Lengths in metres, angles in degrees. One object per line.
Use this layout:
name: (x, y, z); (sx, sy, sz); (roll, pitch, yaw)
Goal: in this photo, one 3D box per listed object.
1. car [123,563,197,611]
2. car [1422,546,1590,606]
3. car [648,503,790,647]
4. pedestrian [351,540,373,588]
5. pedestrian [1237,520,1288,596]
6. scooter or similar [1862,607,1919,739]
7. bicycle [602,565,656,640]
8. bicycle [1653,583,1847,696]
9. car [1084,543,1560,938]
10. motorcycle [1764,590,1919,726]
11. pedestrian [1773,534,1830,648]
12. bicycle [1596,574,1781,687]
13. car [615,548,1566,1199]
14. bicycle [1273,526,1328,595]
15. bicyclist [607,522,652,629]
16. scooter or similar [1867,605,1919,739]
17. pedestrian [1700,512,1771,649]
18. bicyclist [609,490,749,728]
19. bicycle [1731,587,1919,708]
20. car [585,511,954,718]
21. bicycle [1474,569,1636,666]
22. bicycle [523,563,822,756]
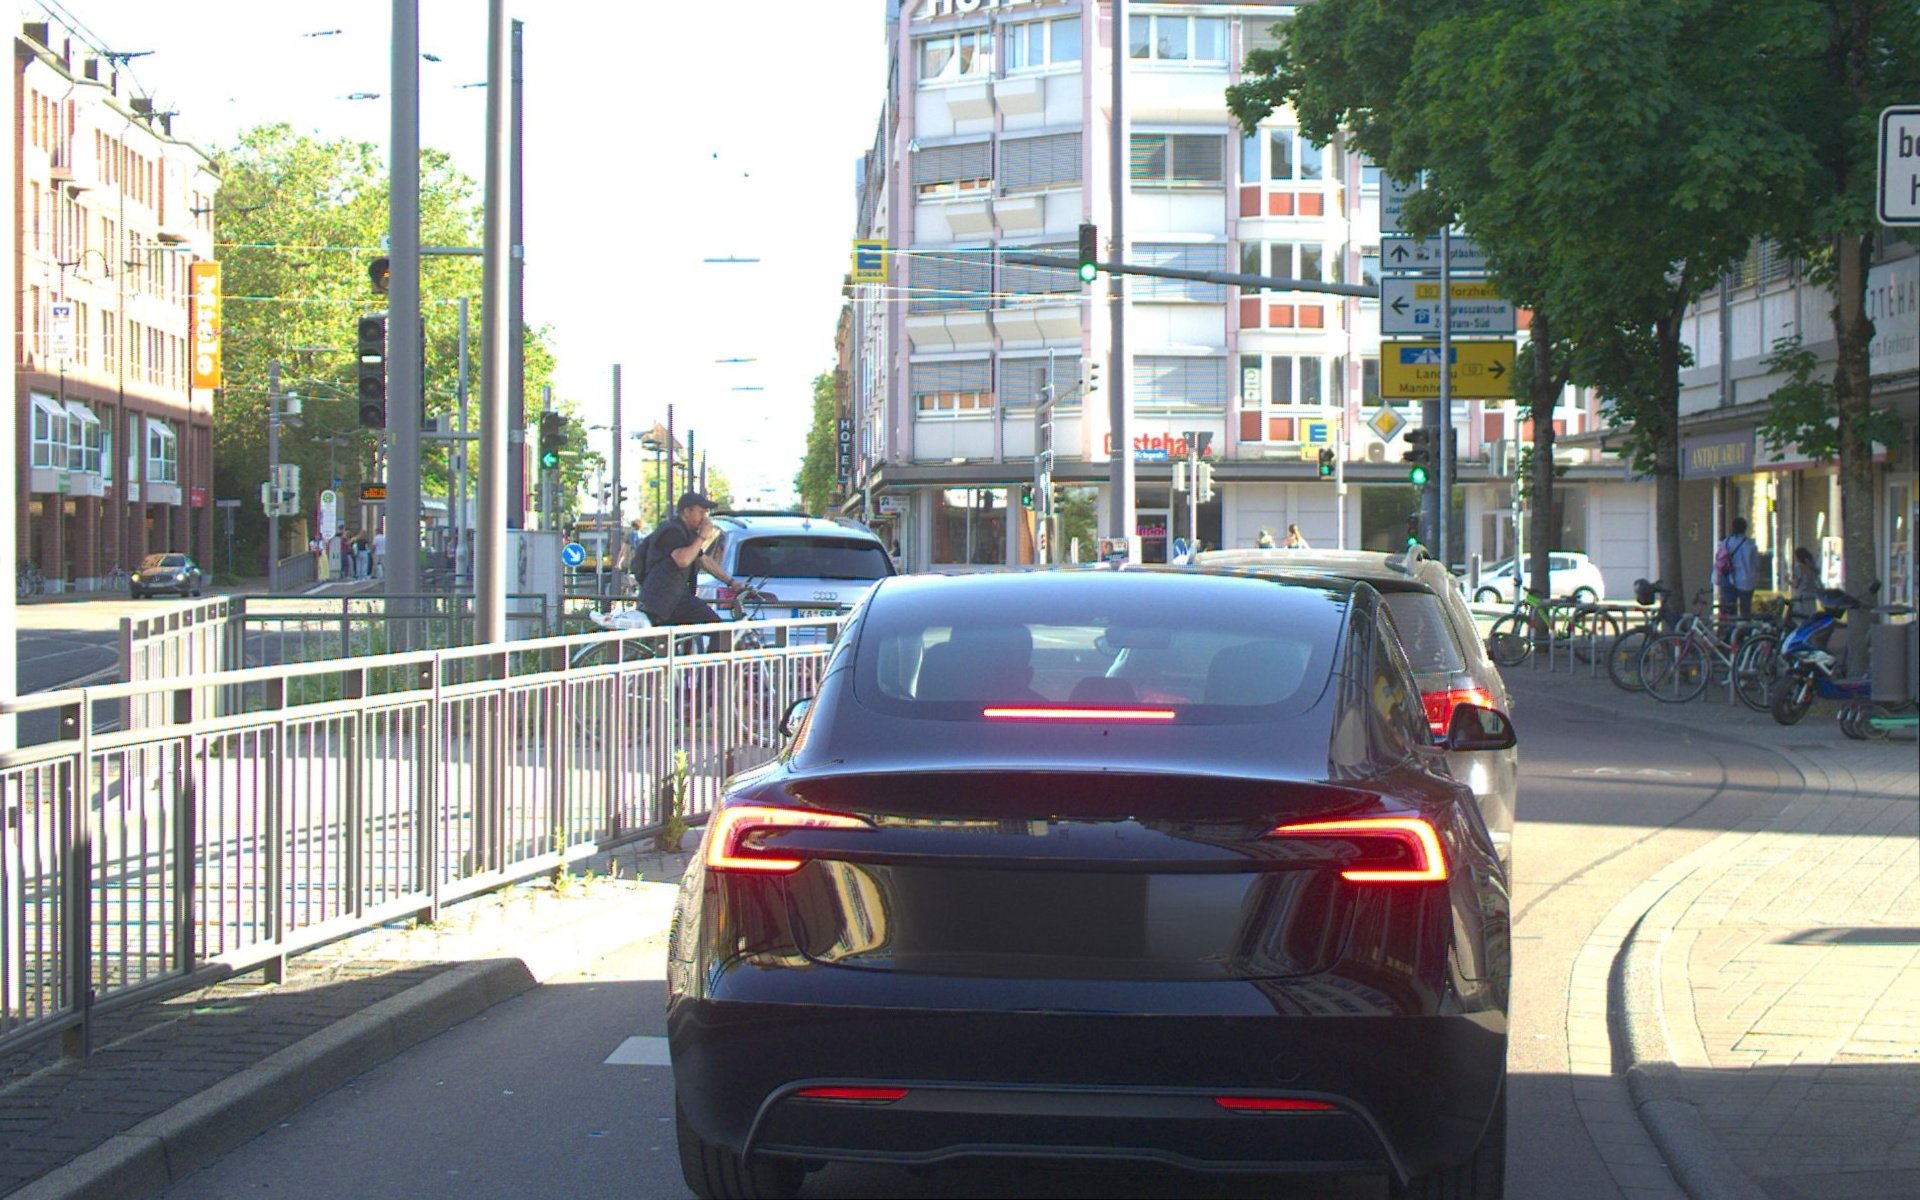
car: (-25.498, -0.437, 109.648); (1.817, 1.449, 3.978); (-1, 1, -6)
car: (13.712, -0.596, 86.468); (3.840, 1.427, 1.804); (0, -1, -5)
car: (-2.828, -0.298, 40.842); (1.572, 1.612, 3.784); (1, 1, -3)
pedestrian: (-18.994, -1.148, 109.136); (0.583, 1.525, 0.638); (1, 0, -18)
pedestrian: (6.398, -0.897, 72.666); (0.779, 1.571, 0.868); (1, 2, -15)
scooter or similar: (7.615, 0.572, 27.105); (0.956, 1.035, 0.160); (0, 1, 3)
bicycle: (-5.554, 0.038, 57.546); (0.626, 1.219, 2.041); (1, 1, -13)
bicycle: (7.650, 0.378, 33.339); (1.767, 1.053, 0.458); (1, 0, 5)
car: (1.525, 0.489, 15.203); (1.765, 1.439, 4.528); (1, 1, 4)
motorcycle: (7.803, 0.494, 29.256); (1.787, 1.126, 0.504); (1, 0, -2)
pedestrian: (10.660, -0.117, 43.576); (0.645, 1.417, 0.621); (1, 0, 11)
bicycle: (7.483, 0.312, 35.327); (1.809, 1.147, 0.435); (0, 0, -4)
car: (0.342, 0.632, 8.506); (1.790, 1.446, 3.939); (1, 2, 3)
bicycle: (7.257, -0.841, 73.247); (0.582, 1.458, 1.686); (0, 1, -16)
bicyclist: (-5.524, -0.416, 57.435); (0.612, 1.765, 0.831); (1, 0, -13)
scooter or similar: (7.610, 0.561, 26.906); (0.964, 1.039, 0.160); (0, 1, 3)
pedestrian: (9.900, -0.248, 43.920); (0.843, 1.715, 0.879); (1, 0, 12)
bicyclist: (-1.825, 0.055, 22.301); (0.681, 1.518, 0.635); (1, 0, -31)
bicycle: (7.985, 0.426, 31.321); (1.849, 1.052, 0.399); (-1, 1, -11)
car: (-1.674, 0.096, 29.063); (1.839, 1.629, 3.486); (1, 1, -27)
bicycle: (7.336, 0.210, 42.432); (1.890, 1.152, 0.480); (-1, 0, 0)
bicycle: (-1.856, 0.374, 22.287); (1.820, 1.207, 0.642); (0, 1, -31)
